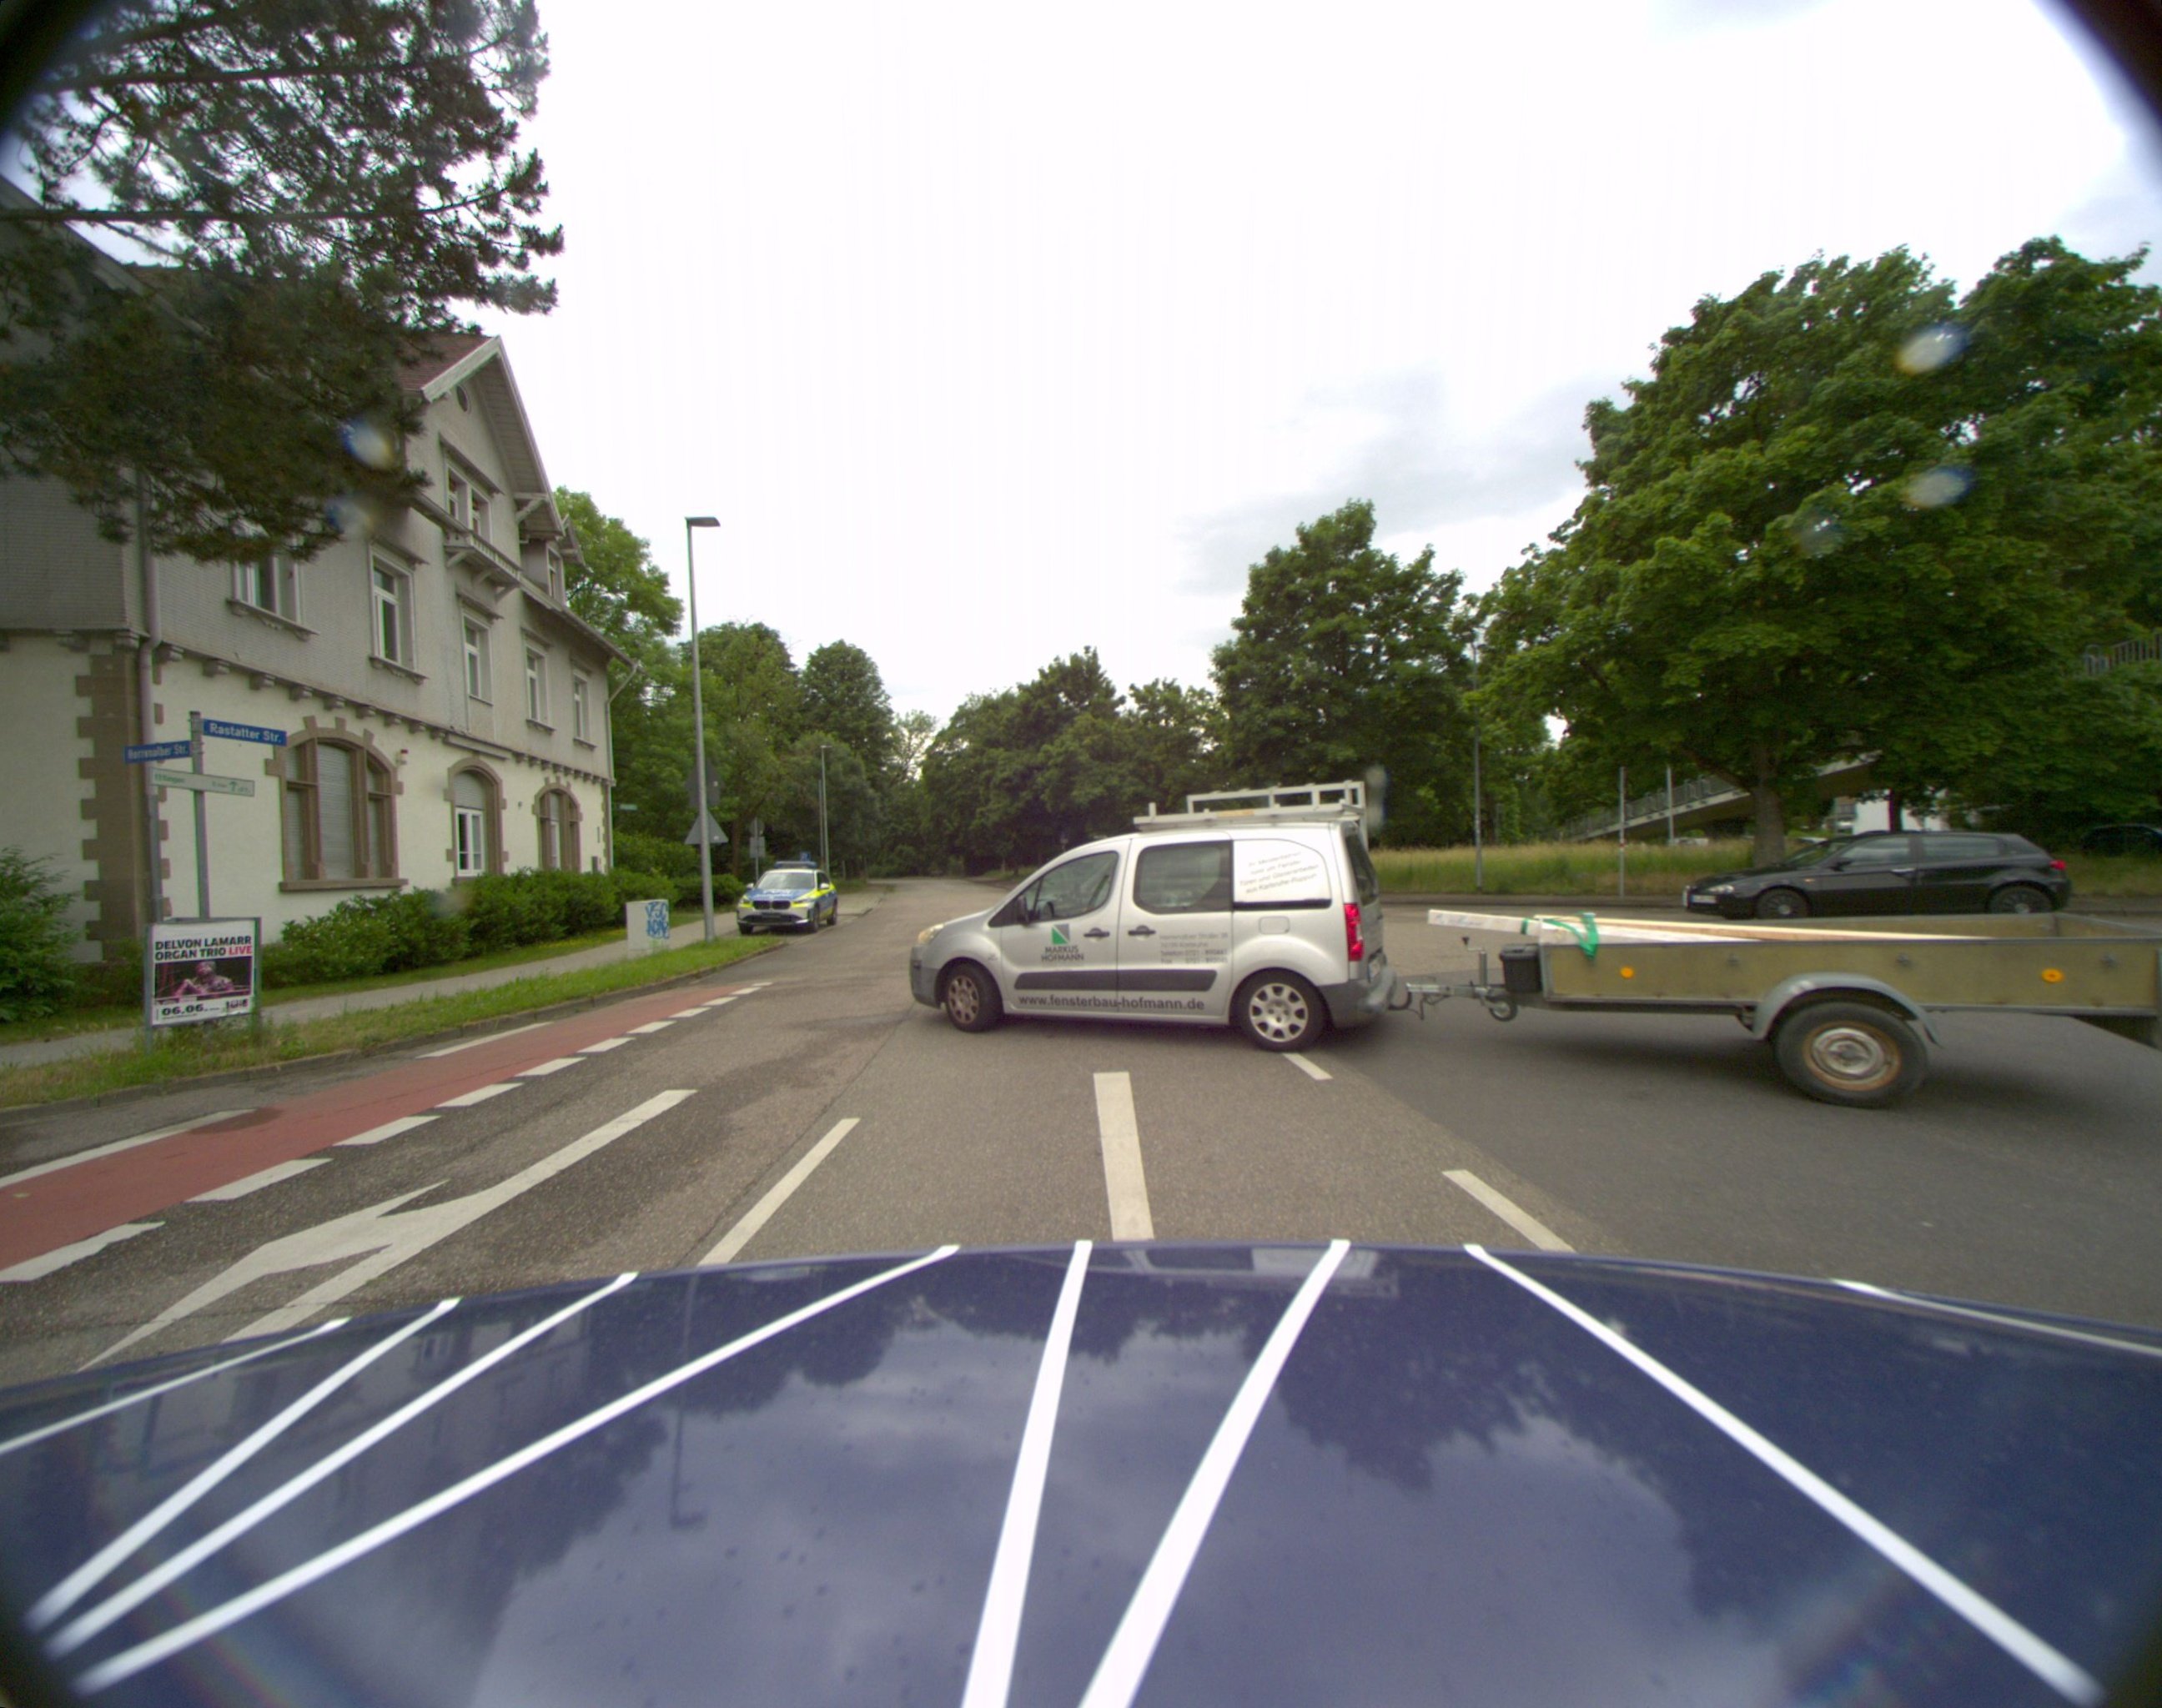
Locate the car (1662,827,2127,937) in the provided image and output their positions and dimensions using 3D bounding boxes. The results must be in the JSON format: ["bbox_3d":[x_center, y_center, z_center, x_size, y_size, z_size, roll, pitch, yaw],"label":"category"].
[{"bbox_3d":[12.044,0.441,11.735,4.530,1.448,1.806,-2,0,23],"label":"car"}]

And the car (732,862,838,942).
[{"bbox_3d":[-7.619,1.151,19.935,1.937,1.839,3.996,0,0,-12],"label":"car"}]

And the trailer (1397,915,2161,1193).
[{"bbox_3d":[3.987,0.990,4.736,3.455,0.980,1.575,-1,1,35],"label":"trailer"}]

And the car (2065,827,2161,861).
[{"bbox_3d":[40.400,-0.391,28.715,1.692,1.231,4.003,-2,0,11],"label":"car"}]

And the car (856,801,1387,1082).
[{"bbox_3d":[0.395,0.615,6.802,4.211,1.847,2.098,-2,0,24],"label":"car"}]
